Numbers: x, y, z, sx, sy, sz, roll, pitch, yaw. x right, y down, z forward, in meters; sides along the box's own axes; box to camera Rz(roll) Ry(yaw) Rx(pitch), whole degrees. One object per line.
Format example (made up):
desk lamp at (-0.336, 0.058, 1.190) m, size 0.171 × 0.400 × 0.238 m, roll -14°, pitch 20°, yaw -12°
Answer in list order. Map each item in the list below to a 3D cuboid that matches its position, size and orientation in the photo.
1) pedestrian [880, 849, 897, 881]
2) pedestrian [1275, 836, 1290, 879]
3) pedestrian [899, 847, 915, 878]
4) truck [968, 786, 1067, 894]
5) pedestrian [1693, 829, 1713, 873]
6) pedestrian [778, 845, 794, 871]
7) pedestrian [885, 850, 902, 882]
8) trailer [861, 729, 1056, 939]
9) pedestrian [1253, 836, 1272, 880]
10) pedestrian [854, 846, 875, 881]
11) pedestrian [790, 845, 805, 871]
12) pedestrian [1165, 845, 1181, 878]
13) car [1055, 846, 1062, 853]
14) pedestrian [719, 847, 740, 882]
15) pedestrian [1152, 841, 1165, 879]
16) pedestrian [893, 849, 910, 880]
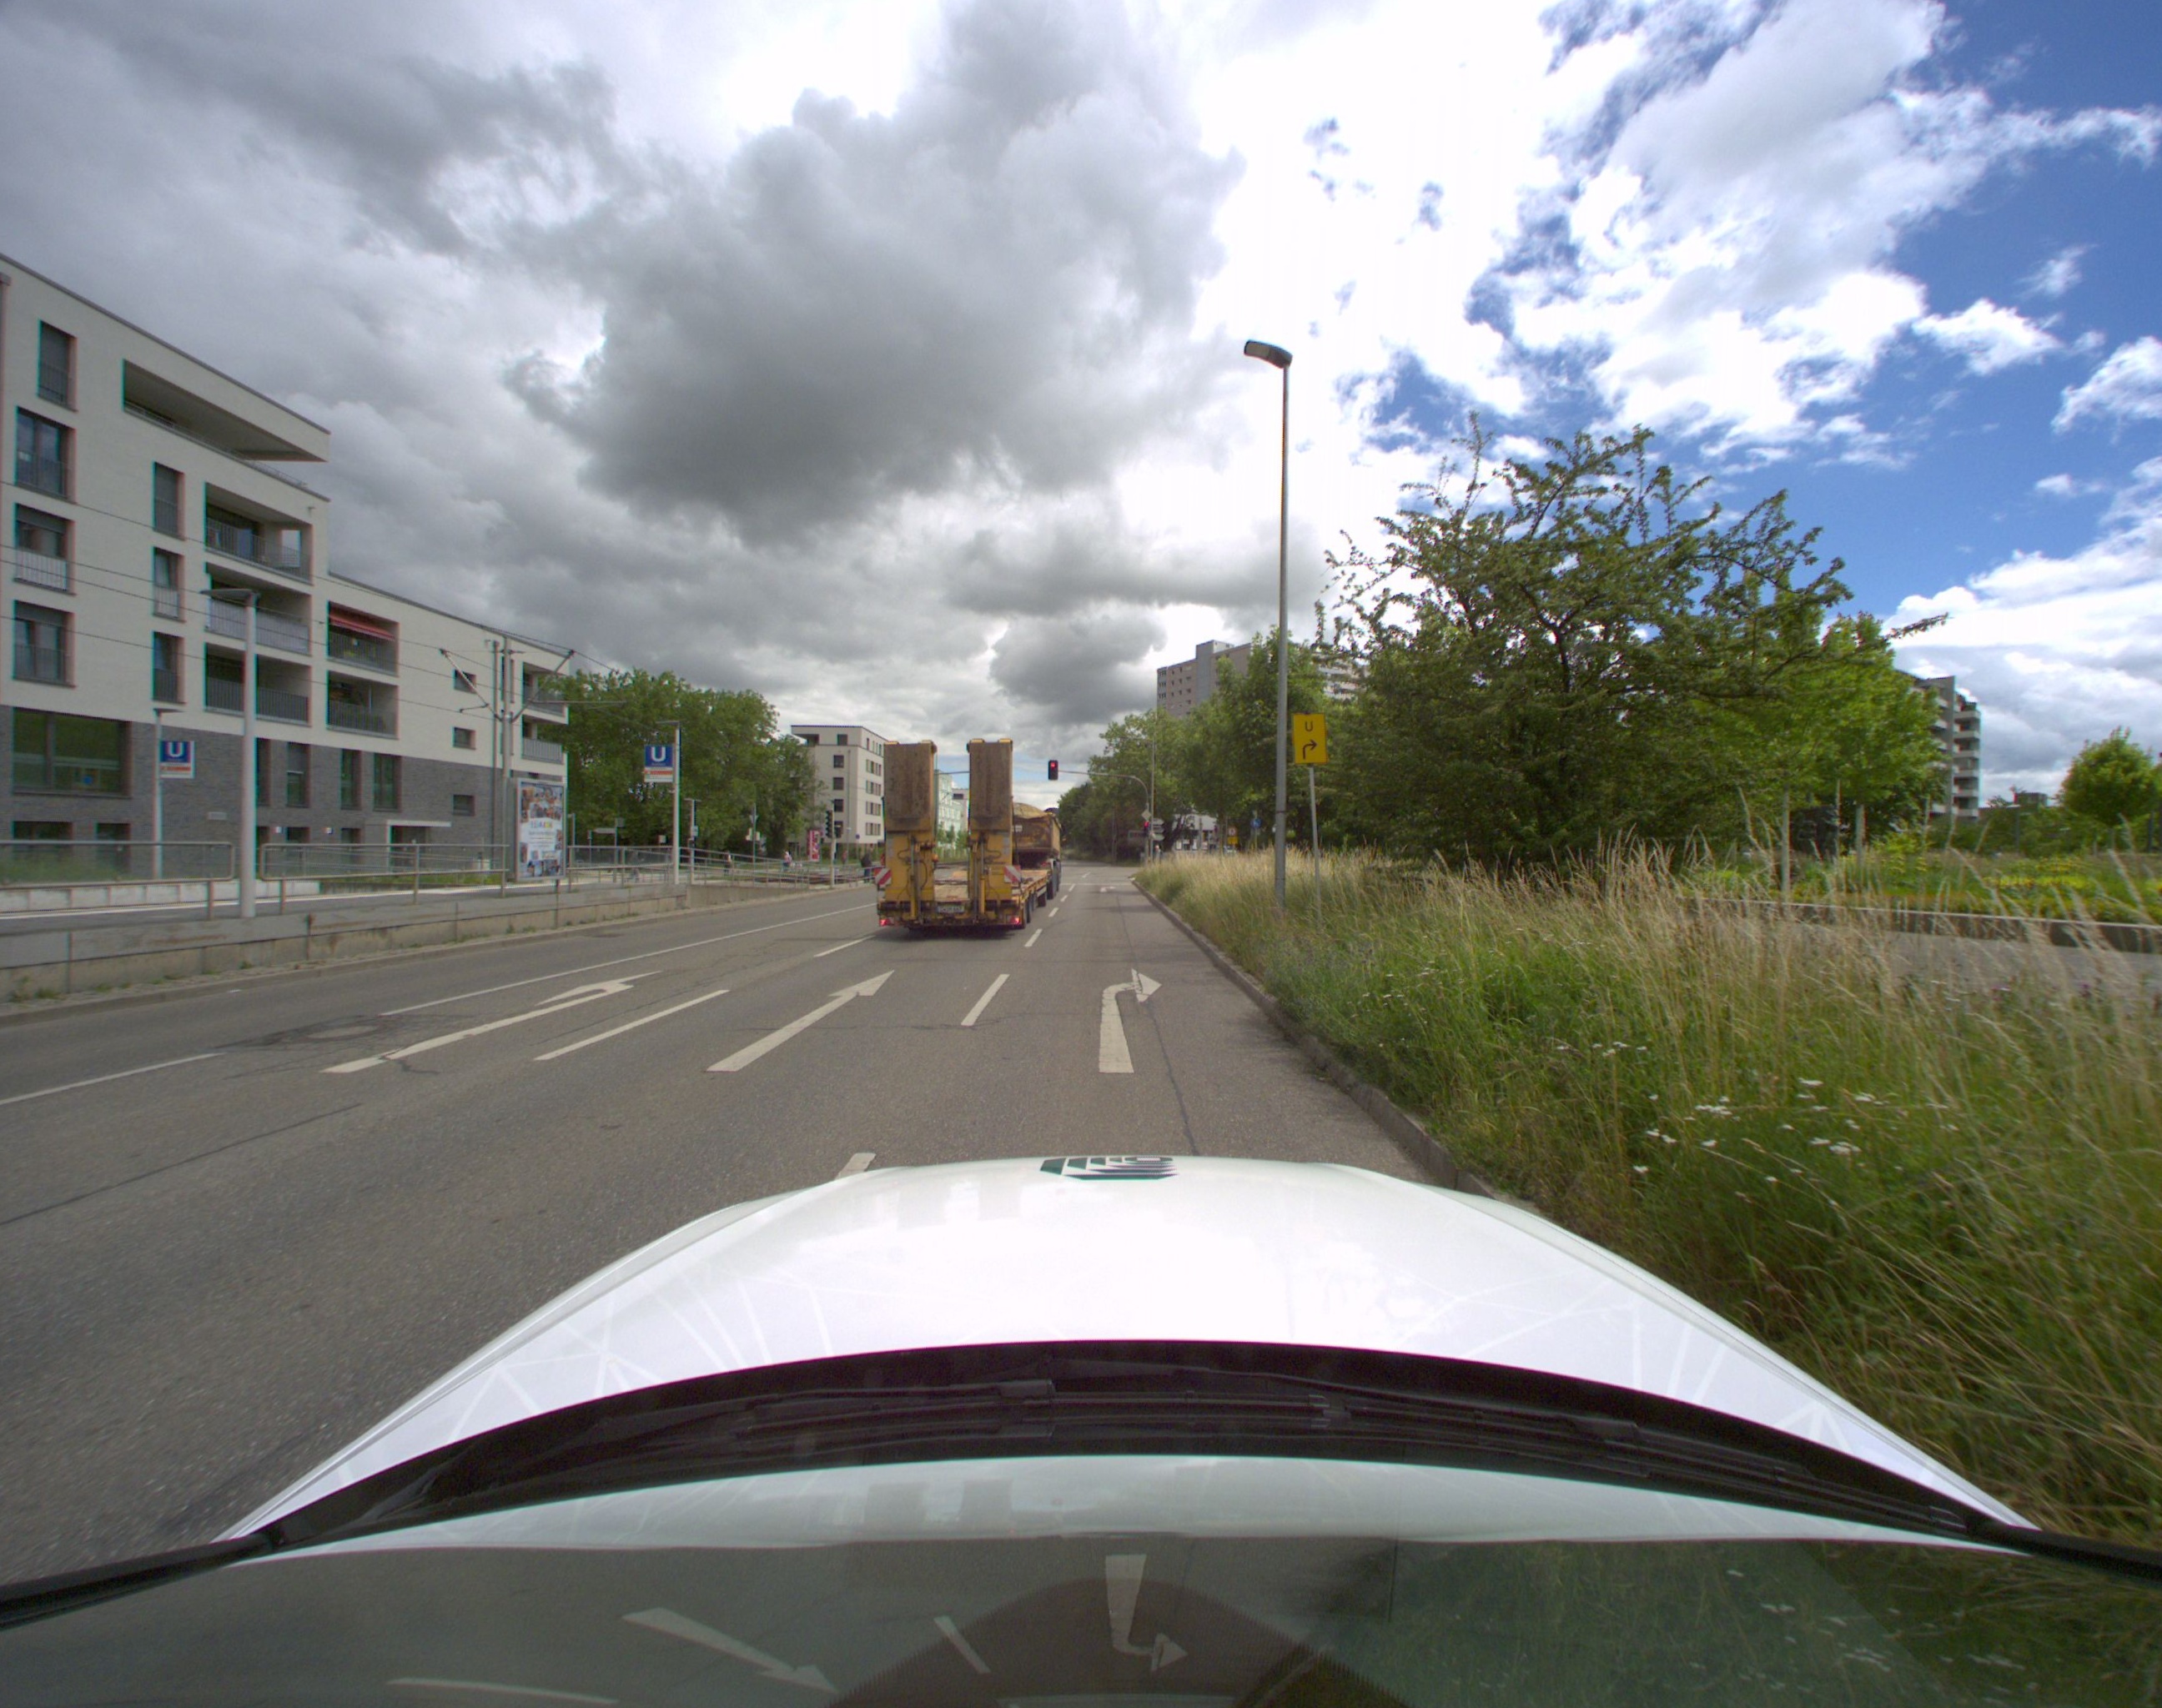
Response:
pedestrian at (-9.677, 0.529, 40.931) m, size 0.679 × 1.602 × 0.823 m, roll 0°, pitch 0°, yaw 0°
pedestrian at (9.399, 0.173, 38.018) m, size 0.561 × 2.014 × 0.490 m, roll 0°, pitch 0°, yaw -8°
pedestrian at (-9.504, 0.457, 44.546) m, size 0.679 × 1.669 × 0.823 m, roll 0°, pitch 0°, yaw 0°
truck at (-2.023, -0.491, 29.322) m, size 2.743 × 3.313 × 8.353 m, roll 0°, pitch 1°, yaw 1°
pedestrian at (27.822, -0.122, 36.414) m, size 0.573 × 1.951 × 0.406 m, roll 0°, pitch 0°, yaw 1°
pedestrian at (-24.153, 0.332, 66.614) m, size 0.912 × 2.133 × 0.935 m, roll 0°, pitch 0°, yaw 1°
pedestrian at (-9.632, 0.592, 41.858) m, size 0.679 × 1.602 × 0.823 m, roll 0°, pitch 0°, yaw 0°
trailer at (-2.263, -0.407, 19.521) m, size 2.719 × 3.558 × 11.257 m, roll 0°, pitch 1°, yaw 1°
pedestrian at (8.353, 0.171, 37.421) m, size 0.671 × 2.014 × 0.633 m, roll 0°, pitch 0°, yaw -8°
pedestrian at (-10.562, 0.461, 39.815) m, size 0.817 × 1.668 × 0.684 m, roll 0°, pitch 0°, yaw 2°
pedestrian at (-23.186, 0.321, 66.561) m, size 0.912 × 2.133 × 0.935 m, roll 0°, pitch 0°, yaw 1°
pedestrian at (4.612, 0.392, 40.932) m, size 0.621 × 1.653 × 0.566 m, roll 0°, pitch 0°, yaw 27°
car at (-6.301, -1.244, 225.476) m, size 1.686 × 1.925 × 3.996 m, roll 0°, pitch 1°, yaw -3°
pedestrian at (-22.309, 0.656, 51.721) m, size 0.912 × 2.204 × 0.882 m, roll 0°, pitch 0°, yaw 1°
pedestrian at (4.075, 0.312, 42.898) m, size 0.561 × 2.014 × 0.490 m, roll 0°, pitch 0°, yaw -8°
pedestrian at (-9.587, 0.545, 43.545) m, size 0.679 × 1.602 × 0.823 m, roll 0°, pitch 0°, yaw 0°
